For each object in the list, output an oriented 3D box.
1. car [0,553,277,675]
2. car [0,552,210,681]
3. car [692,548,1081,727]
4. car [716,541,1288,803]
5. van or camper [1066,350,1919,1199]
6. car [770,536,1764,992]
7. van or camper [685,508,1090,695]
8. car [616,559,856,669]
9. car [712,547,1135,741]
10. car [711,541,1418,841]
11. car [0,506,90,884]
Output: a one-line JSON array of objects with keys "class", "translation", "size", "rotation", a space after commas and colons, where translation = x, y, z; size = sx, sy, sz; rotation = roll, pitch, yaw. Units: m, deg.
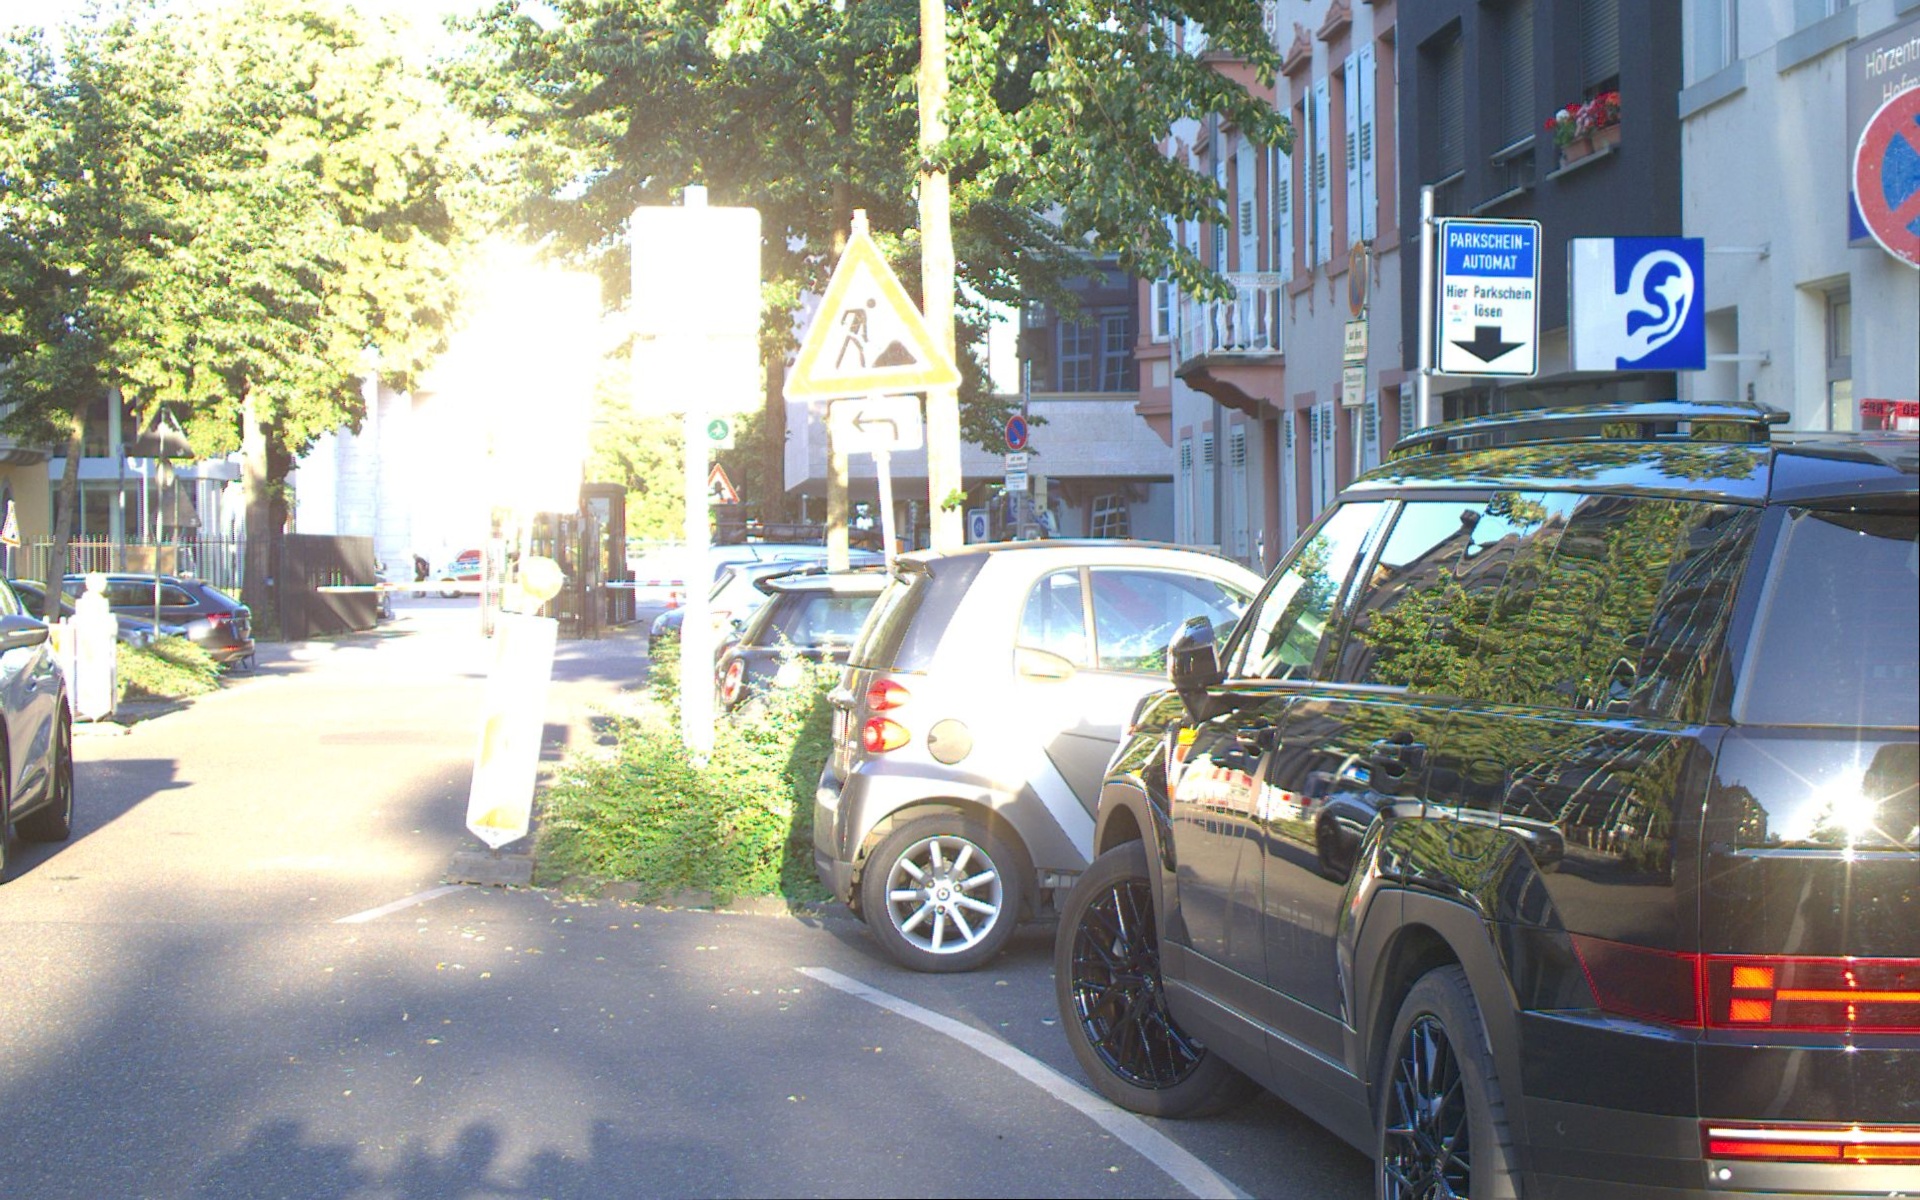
[{"class": "car", "translation": [-11.813, 0.185, 48.491], "size": [3.987, 1.678, 1.891], "rotation": [0, 1, -1]}, {"class": "car", "translation": [-12.190, 0.204, 45.791], "size": [3.987, 1.678, 1.891], "rotation": [0, 1, -1]}, {"class": "car", "translation": [-0.769, 0.354, 33.844], "size": [3.684, 1.664, 1.859], "rotation": [1, 1, -5]}, {"class": "car", "translation": [0.223, 0.465, 23.342], "size": [3.684, 1.664, 1.859], "rotation": [1, 1, -5]}, {"class": "van or camper", "translation": [1.560, 0.505, 7.354], "size": [1.889, 1.801, 4.462], "rotation": [0, 1, -9]}, {"class": "car", "translation": [1.113, 0.556, 13.076], "size": [3.469, 1.570, 1.508], "rotation": [-1, 1, -12]}, {"class": "van or camper", "translation": [-0.867, 0.012, 38.910], "size": [4.439, 1.999, 1.859], "rotation": [1, 1, -5]}, {"class": "car", "translation": [-3.337, 0.190, 51.856], "size": [1.855, 1.563, 3.691], "rotation": [1, 1, 30]}, {"class": "car", "translation": [-0.382, 0.380, 31.275], "size": [3.684, 1.664, 1.859], "rotation": [1, 1, -5]}, {"class": "car", "translation": [0.546, 0.515, 20.526], "size": [3.994, 1.664, 1.859], "rotation": [1, 1, -5]}, {"class": "car", "translation": [-5.508, 0.444, 16.961], "size": [1.872, 1.692, 4.322], "rotation": [-3, 1, -9]}]
